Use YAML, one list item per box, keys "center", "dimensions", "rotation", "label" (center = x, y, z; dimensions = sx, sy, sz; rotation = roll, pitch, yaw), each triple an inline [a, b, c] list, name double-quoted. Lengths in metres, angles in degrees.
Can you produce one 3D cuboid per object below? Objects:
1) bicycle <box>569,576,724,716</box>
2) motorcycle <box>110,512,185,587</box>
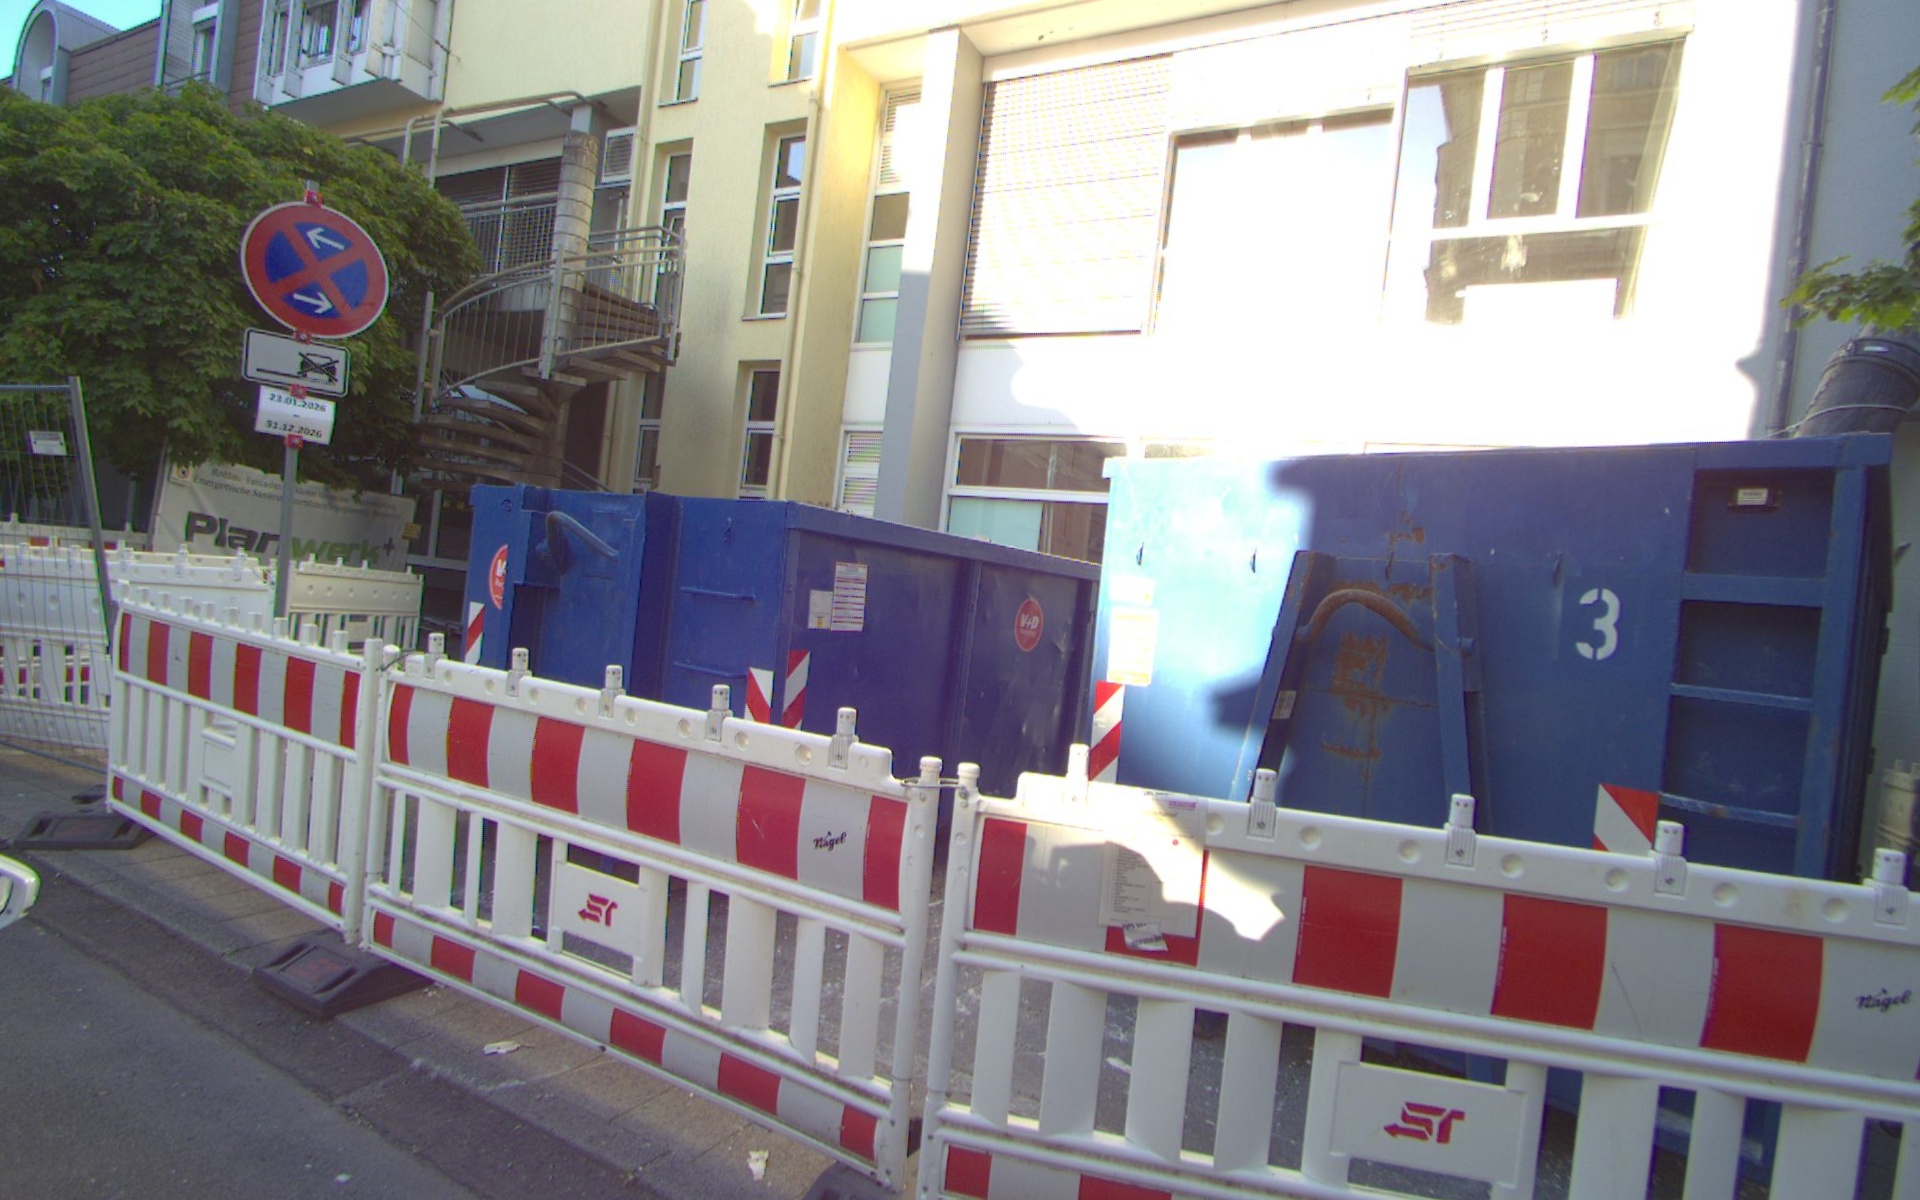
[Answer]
- center: [-3.191, 0.505, 10.426]
  dimensions: [0.539, 1.282, 1.652]
  rotation: [7, -2, 18]
  label: "bicycle"
- center: [-15.222, -0.956, 18.809]
  dimensions: [0.866, 1.237, 2.428]
  rotation: [6, 0, -43]
  label: "motorcycle"
